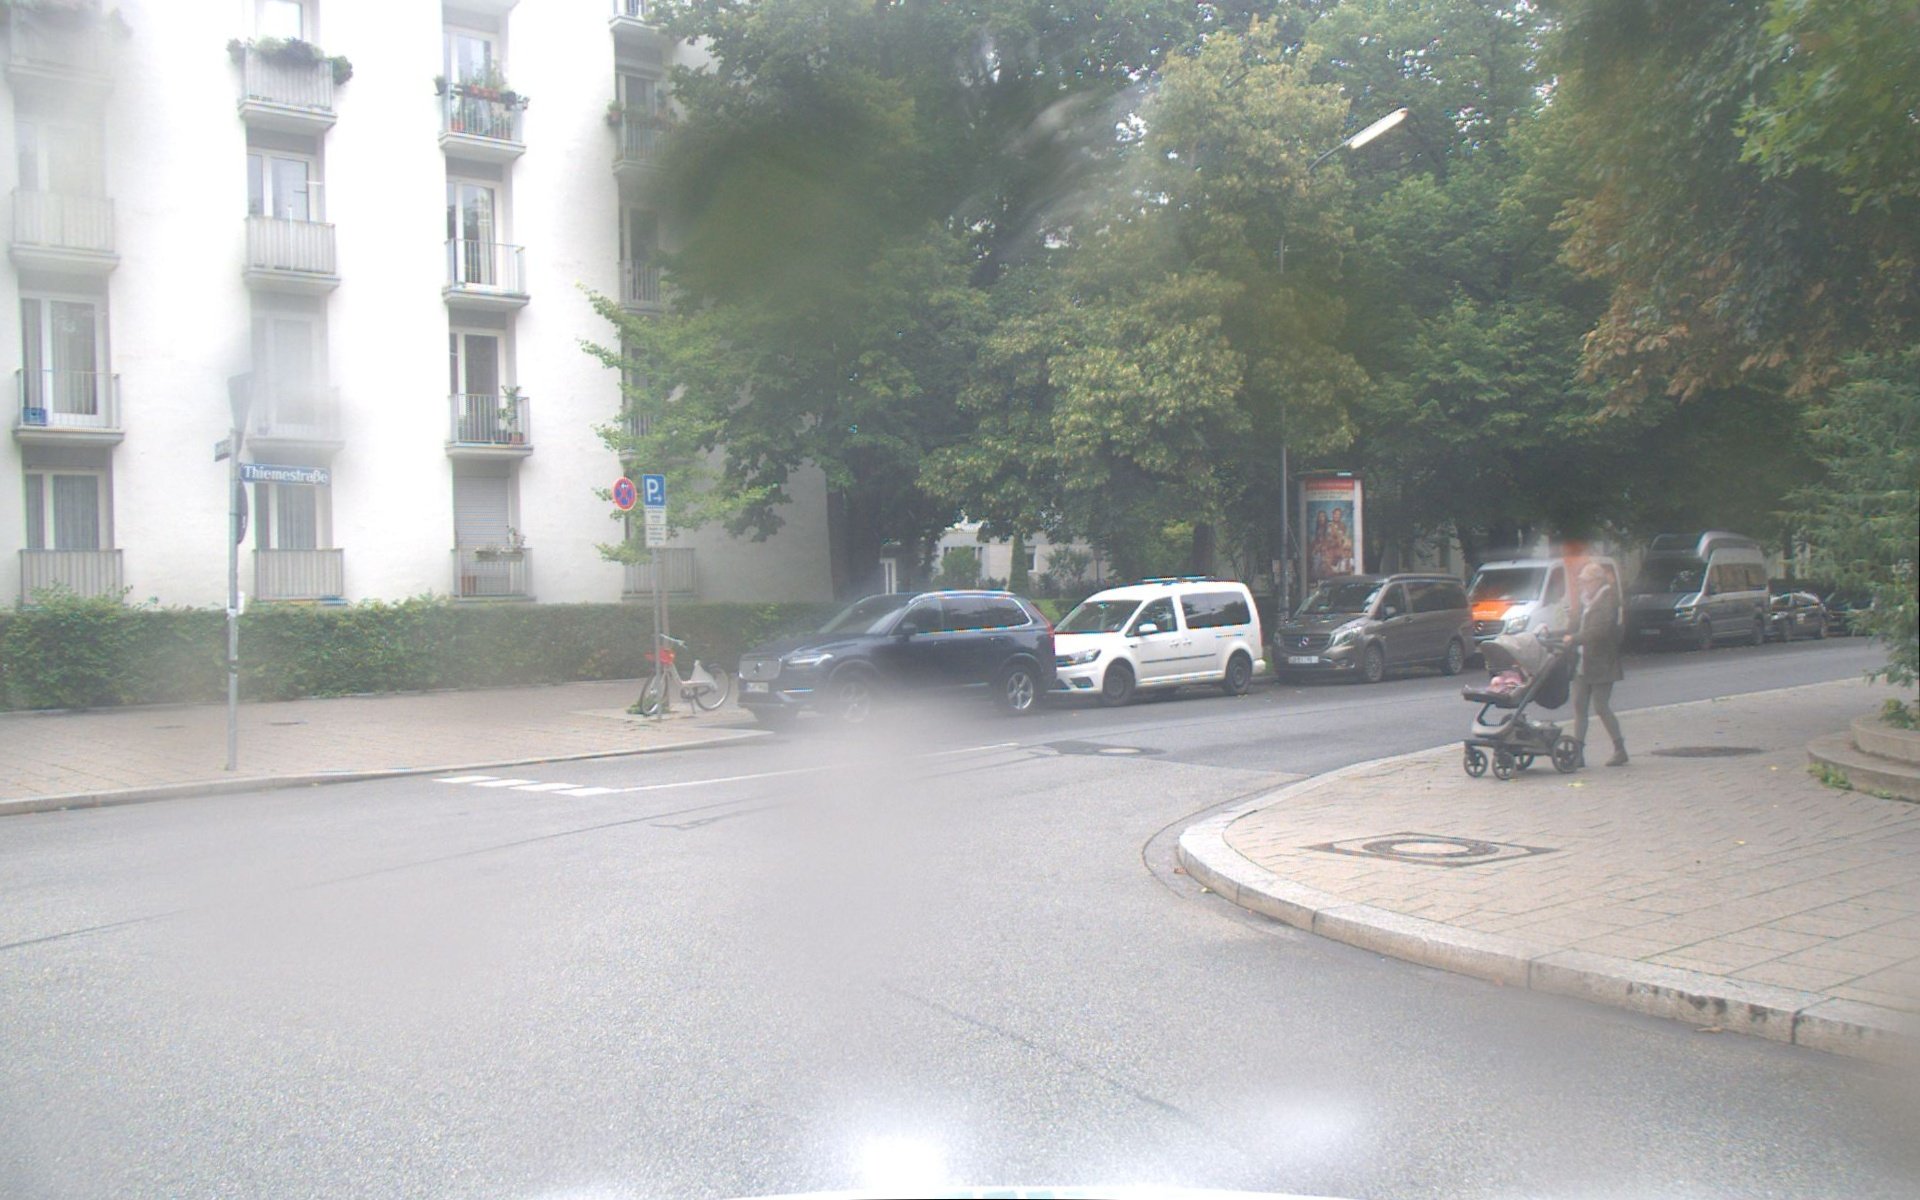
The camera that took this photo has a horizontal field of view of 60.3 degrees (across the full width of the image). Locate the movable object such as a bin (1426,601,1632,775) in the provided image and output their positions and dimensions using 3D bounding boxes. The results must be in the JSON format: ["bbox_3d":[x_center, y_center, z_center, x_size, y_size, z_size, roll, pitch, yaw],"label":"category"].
[{"bbox_3d":[4.531,0.688,13.221,1.071,1.289,1.071,-1,-2,-29],"label":"movable object such as a bin"}]

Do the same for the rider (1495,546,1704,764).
[{"bbox_3d":[5.266,0.446,13.655,1.123,1.697,1.075,-1,-2,-29],"label":"rider"}]

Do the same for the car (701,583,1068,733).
[{"bbox_3d":[-0.932,0.701,22.608,4.866,1.798,2.040,-1,0,-43],"label":"car"}]

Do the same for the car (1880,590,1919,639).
[{"bbox_3d":[33.021,0.478,56.268,4.042,1.599,1.871,-1,0,-43],"label":"car"}]

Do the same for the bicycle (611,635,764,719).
[{"bbox_3d":[-3.808,1.055,23.209,1.954,1.070,0.900,-1,0,-42],"label":"bicycle"}]

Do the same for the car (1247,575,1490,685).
[{"bbox_3d":[7.705,0.498,30.921,4.945,1.891,2.039,-1,0,-43],"label":"car"}]

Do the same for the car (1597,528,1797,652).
[{"bbox_3d":[19.125,-0.274,42.724,6.524,2.973,2.306,-1,0,-43],"label":"car"}]

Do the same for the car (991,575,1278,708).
[{"bbox_3d":[2.866,0.587,26.410,4.829,1.928,1.901,-1,0,-44],"label":"car"}]

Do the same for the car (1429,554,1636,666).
[{"bbox_3d":[12.573,0.179,36.145,5.152,2.290,2.085,-1,0,-43],"label":"car"}]

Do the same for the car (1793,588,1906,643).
[{"bbox_3d":[27.028,0.451,50.218,4.042,1.565,1.871,-1,0,-43],"label":"car"}]
